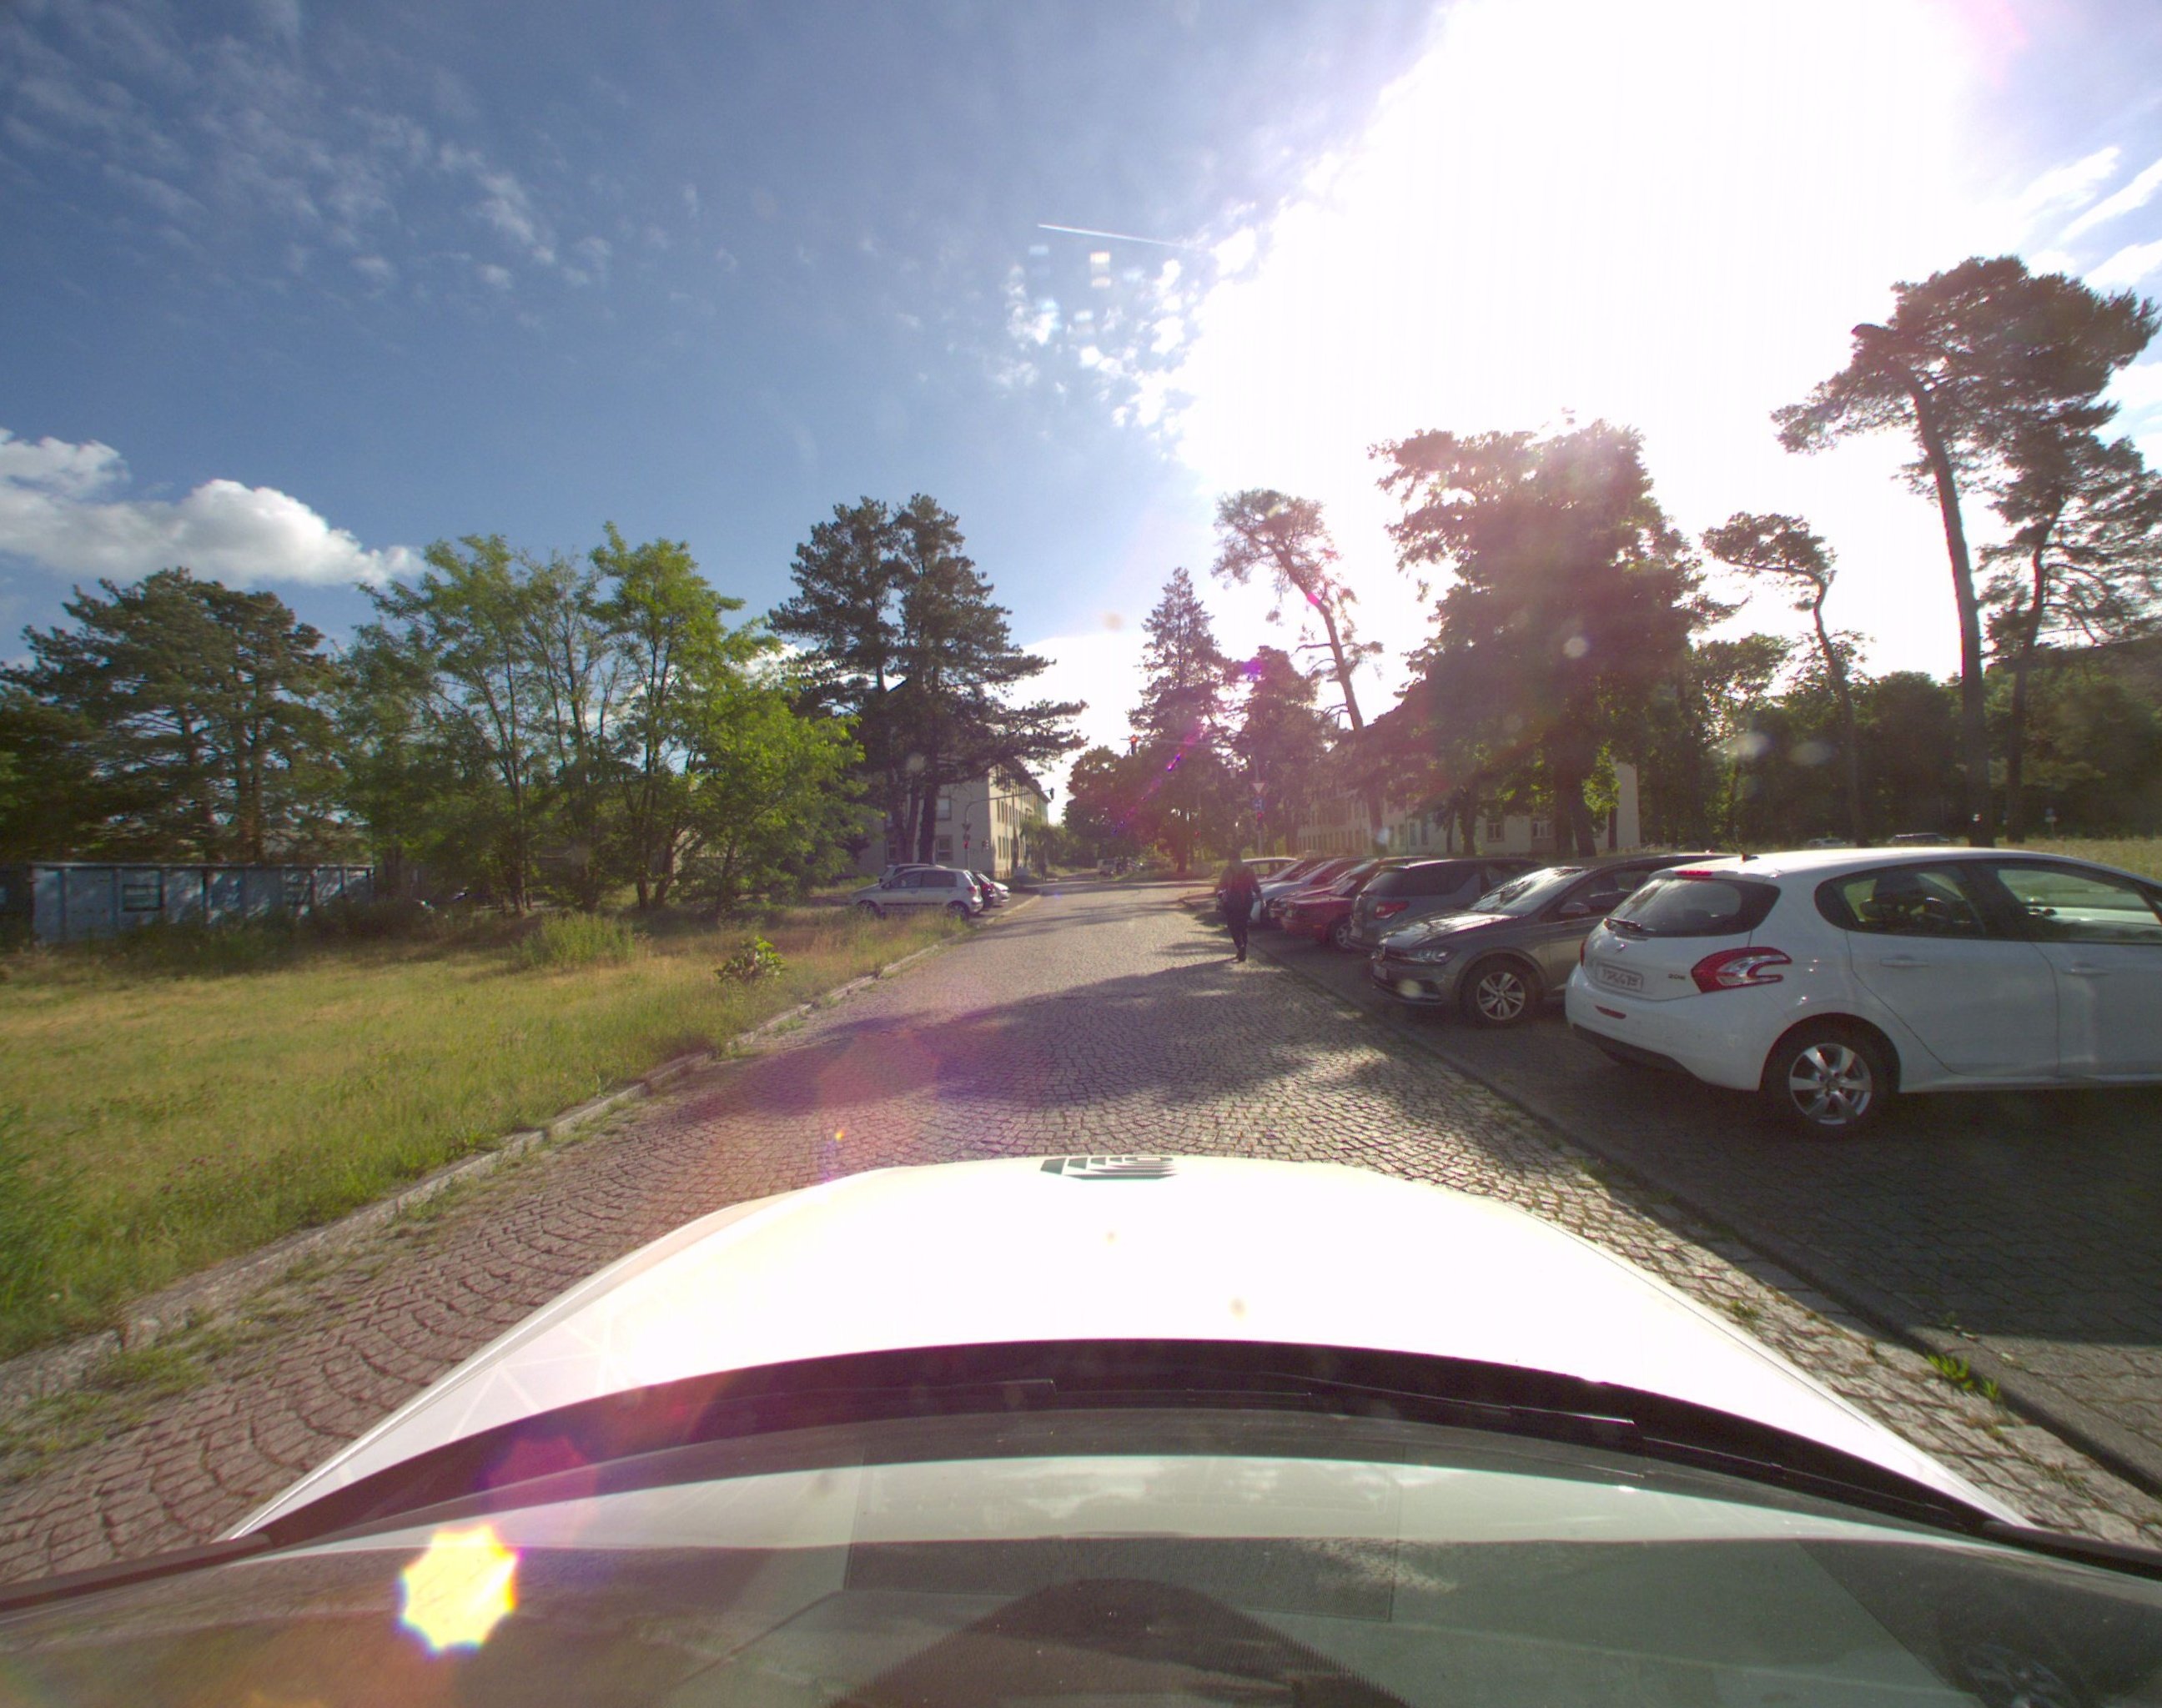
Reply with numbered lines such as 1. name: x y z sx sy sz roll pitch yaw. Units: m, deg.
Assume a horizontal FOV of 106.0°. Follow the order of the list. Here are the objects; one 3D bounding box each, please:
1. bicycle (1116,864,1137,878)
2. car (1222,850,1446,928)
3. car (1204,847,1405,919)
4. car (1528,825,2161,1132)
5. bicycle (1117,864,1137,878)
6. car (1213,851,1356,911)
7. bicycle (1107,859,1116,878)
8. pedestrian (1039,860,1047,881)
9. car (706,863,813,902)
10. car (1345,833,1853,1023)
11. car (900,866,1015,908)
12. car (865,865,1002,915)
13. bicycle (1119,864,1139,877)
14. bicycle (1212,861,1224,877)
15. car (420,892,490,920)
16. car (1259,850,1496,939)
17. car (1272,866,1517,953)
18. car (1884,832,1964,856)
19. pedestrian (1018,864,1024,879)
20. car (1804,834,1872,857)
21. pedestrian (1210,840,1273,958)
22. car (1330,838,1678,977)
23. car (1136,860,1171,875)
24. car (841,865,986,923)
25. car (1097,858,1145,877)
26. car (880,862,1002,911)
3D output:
1. bicycle: 4.029 1.517 72.412 1.829 1.112 0.495 -2 -1 -2
2. car: 5.493 0.749 18.083 4.384 1.388 1.789 -3 -1 0
3. car: 5.657 0.724 21.030 4.606 1.455 1.869 -4 -1 -1
4. car: 5.042 0.636 5.014 3.631 1.492 1.635 -2 -1 2
5. bicycle: 4.116 1.521 72.955 1.723 1.112 0.484 -2 -1 -2
6. car: 5.758 0.752 23.395 3.659 1.443 1.666 -4 -1 1
7. bicycle: 2.569 1.199 68.993 0.750 1.580 2.537 -2 -1 1
8. pedestrian: -3.293 1.424 70.634 0.604 1.752 0.630 -2 -1 1
9. car: -15.083 1.316 38.343 4.127 1.608 2.011 -2 -1 2
10. car: 4.751 0.660 7.955 3.765 1.450 1.759 -3 -1 3
11. car: -4.647 1.208 30.892 3.966 1.496 1.776 0 0 6
12. car: -4.540 1.097 25.470 3.924 1.445 1.691 1 -1 0
13. bicycle: 4.375 1.484 73.631 1.723 1.164 0.560 -2 -1 -2
14. bicycle: 10.184 1.083 60.355 0.717 1.115 2.592 -2 -1 12
15. car: -46.130 3.808 60.106 1.856 1.778 4.007 -2 -1 4
16. car: 5.623 0.754 15.794 3.965 1.448 1.656 -3 -1 1
17. car: 5.042 0.871 13.416 3.447 1.242 1.537 -2 -1 2
18. car: 58.835 -0.657 56.907 3.619 1.498 1.769 -2 -1 4
19. pedestrian: -6.414 1.817 86.638 0.606 1.560 0.544 -2 -1 -5
20. car: 59.845 -0.678 64.417 3.619 1.671 1.769 -2 -1 4
21. pedestrian: 2.475 0.678 12.635 0.750 1.725 0.829 3 -1 1
22. car: 5.385 0.664 10.734 3.649 1.455 1.667 -4 -1 1
23. car: 8.401 1.519 94.124 3.738 1.580 1.738 -2 -1 -6
24. car: -4.620 1.091 22.806 3.674 1.527 1.698 0 -1 -1
25. car: 4.400 1.483 90.318 5.063 1.918 1.995 -2 -1 -8
26. car: -4.785 1.105 28.162 3.866 1.615 1.660 0 -1 0
